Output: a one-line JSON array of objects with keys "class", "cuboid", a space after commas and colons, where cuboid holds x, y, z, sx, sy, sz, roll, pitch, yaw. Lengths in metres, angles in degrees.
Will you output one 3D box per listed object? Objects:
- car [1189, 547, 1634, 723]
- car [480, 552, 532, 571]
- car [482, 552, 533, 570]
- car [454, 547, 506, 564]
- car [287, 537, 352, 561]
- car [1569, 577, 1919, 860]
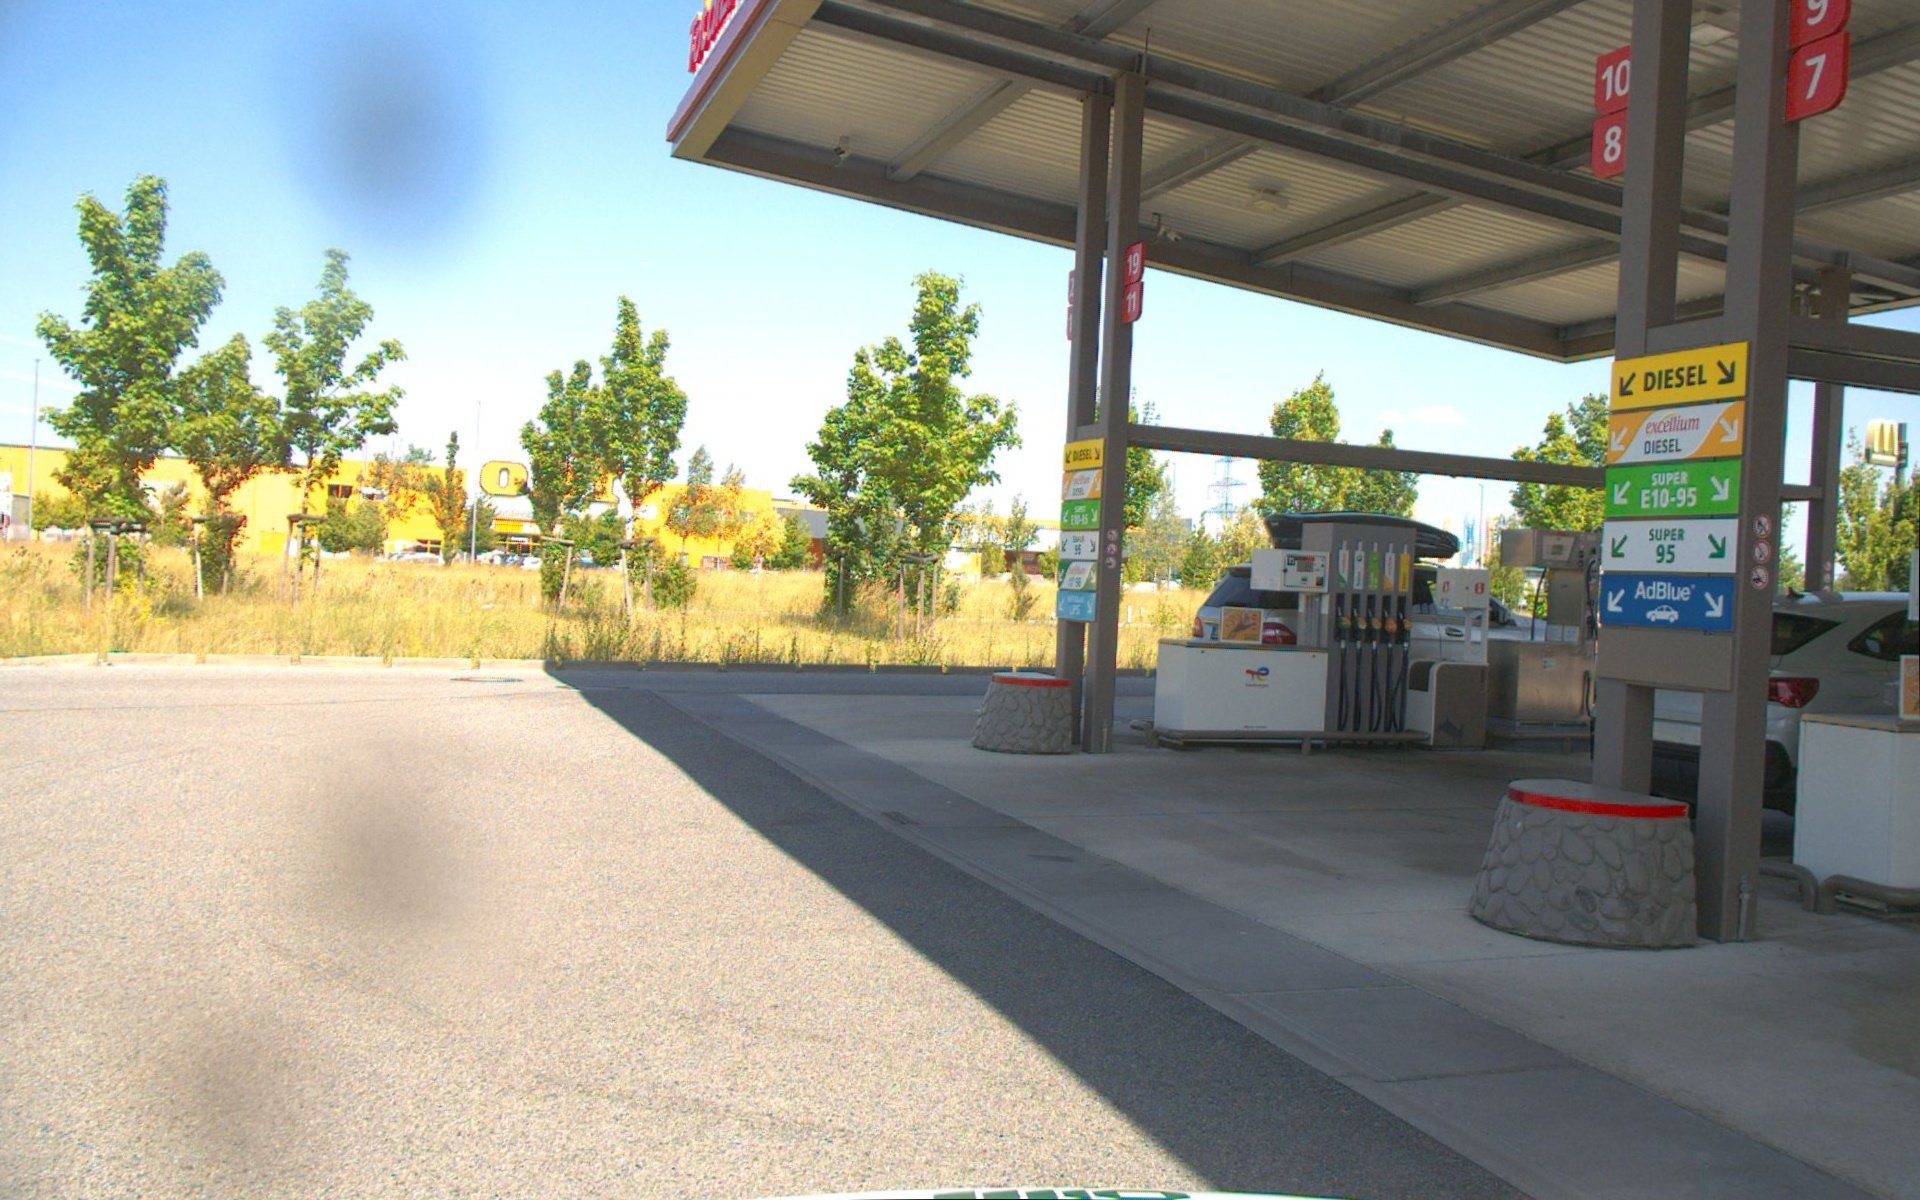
[{"class": "car", "cuboid": [4.887, 0.371, 17.895, 4.461, 1.717, 1.852, 2, 1, -24]}, {"class": "car", "cuboid": [-38.217, -3.230, 139.227, 4.091, 1.496, 1.663, 2, 1, -18]}, {"class": "car", "cuboid": [-37.509, -3.211, 137.053, 3.941, 1.322, 1.749, 2, 1, -18]}, {"class": "car", "cuboid": [-35.073, -3.258, 120.818, 3.641, 1.133, 1.586, 2, 1, -18]}, {"class": "car", "cuboid": [-47.308, -3.745, 122.222, 4.302, 1.575, 1.785, 2, 1, -18]}, {"class": "car", "cuboid": [6.356, 0.715, 10.860, 4.246, 1.568, 1.776, 2, 1, -19]}]
